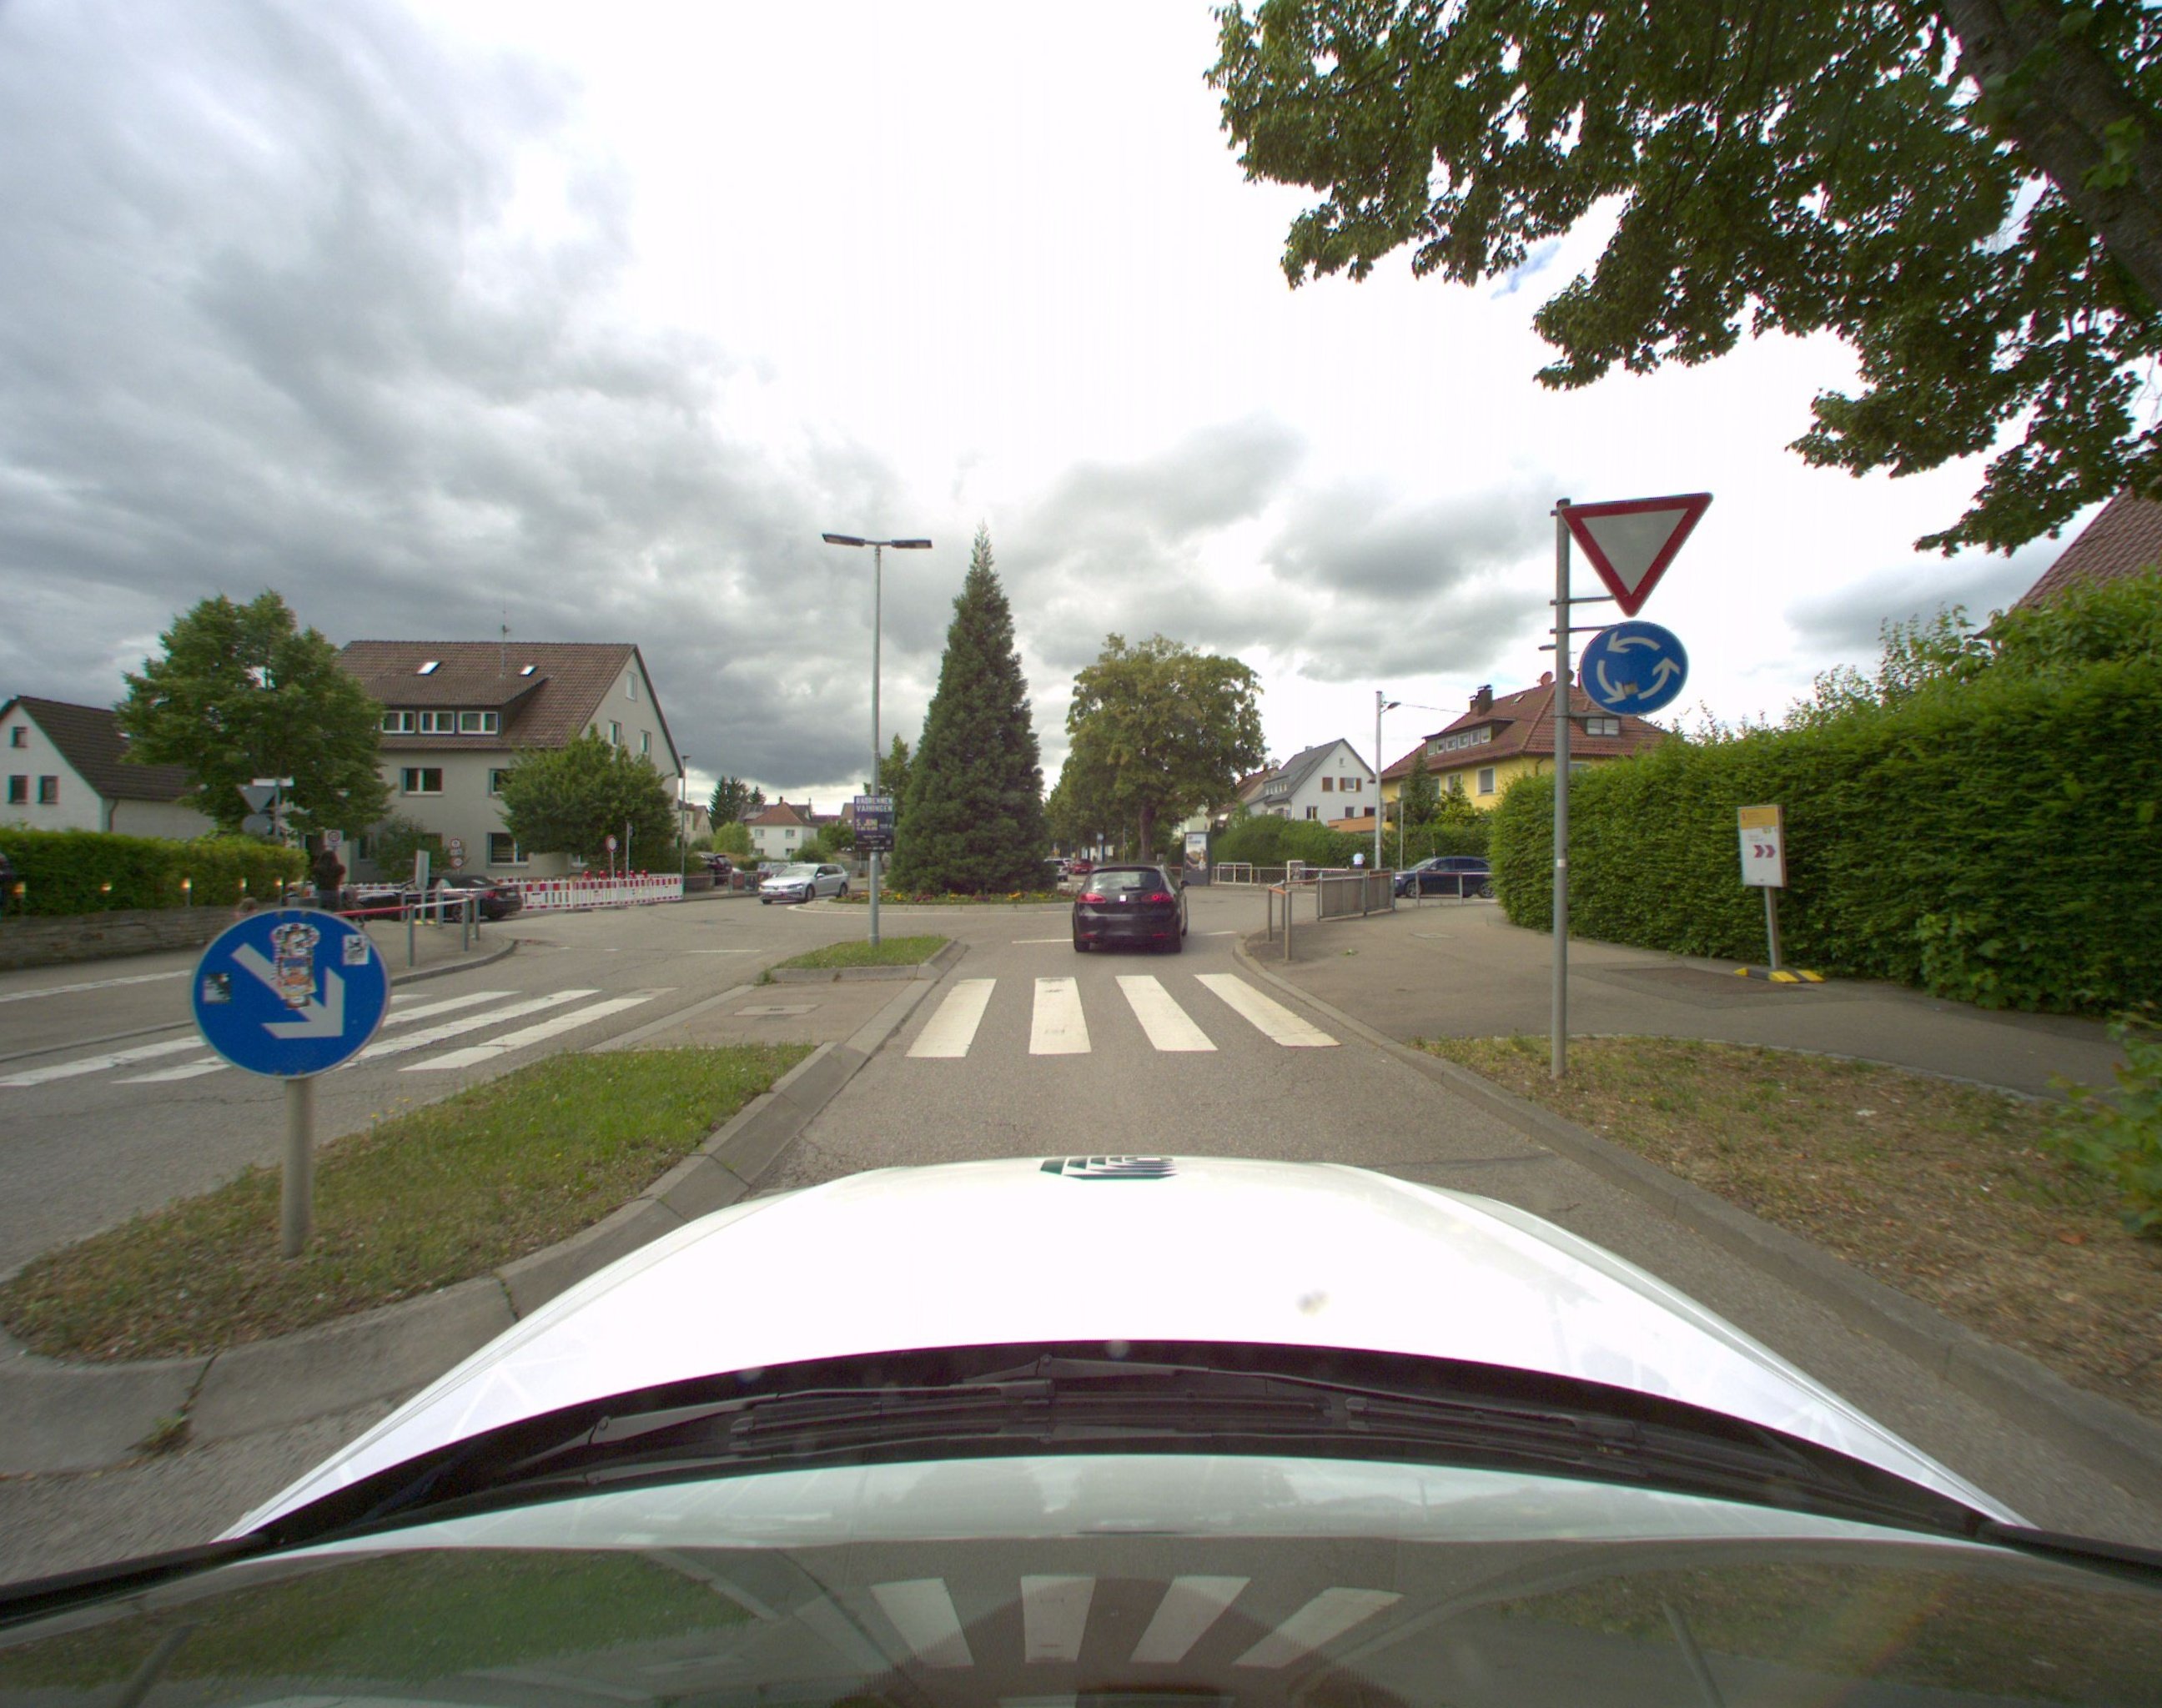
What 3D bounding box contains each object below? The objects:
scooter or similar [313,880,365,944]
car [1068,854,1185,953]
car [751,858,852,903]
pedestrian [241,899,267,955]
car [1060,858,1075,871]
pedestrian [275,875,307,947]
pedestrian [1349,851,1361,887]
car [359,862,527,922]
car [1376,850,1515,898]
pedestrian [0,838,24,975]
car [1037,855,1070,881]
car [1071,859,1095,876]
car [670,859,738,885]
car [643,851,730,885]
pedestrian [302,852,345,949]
[{"bbox_3d":[-13.636,1.051,14.990,0.407,1.095,0.962,2,-1,-26],"label":"scooter or similar"},{"bbox_3d":[0.935,0.759,14.288,1.722,1.486,4.009,-1,0,8],"label":"car"},{"bbox_3d":[-10.506,0.960,30.966,1.858,1.560,4.269,-1,0,8],"label":"car"},{"bbox_3d":[-13.580,1.195,13.375,0.240,0.894,0.257,0,-1,-35],"label":"pedestrian"},{"bbox_3d":[-1.543,1.221,94.309,1.591,1.510,3.596,-1,0,-3],"label":"car"},{"bbox_3d":[-14.093,1.005,14.535,0.344,1.245,0.350,0,-1,-34],"label":"pedestrian"},{"bbox_3d":[12.069,0.656,35.858,0.486,1.534,0.487,-1,-1,21],"label":"pedestrian"},{"bbox_3d":[-18.704,1.086,24.000,3.602,1.634,1.572,-1,0,-4],"label":"car"},{"bbox_3d":[13.307,0.719,29.879,4.384,1.661,1.649,1,0,-1],"label":"car"},{"bbox_3d":[-14.321,0.686,10.680,0.555,1.784,0.544,-1,-1,38],"label":"pedestrian"},{"bbox_3d":[-1.830,0.902,53.413,1.990,1.613,3.994,0,0,-4],"label":"car"},{"bbox_3d":[0.159,1.199,72.893,1.475,1.489,3.369,0,0,-11],"label":"car"},{"bbox_3d":[-20.276,0.961,43.880,3.029,1.382,1.340,-1,0,2],"label":"car"},{"bbox_3d":[-19.870,0.692,41.081,3.574,1.611,1.601,-1,0,2],"label":"car"},{"bbox_3d":[-13.337,0.807,14.345,0.485,1.669,0.510,0,-1,-35],"label":"pedestrian"}]
